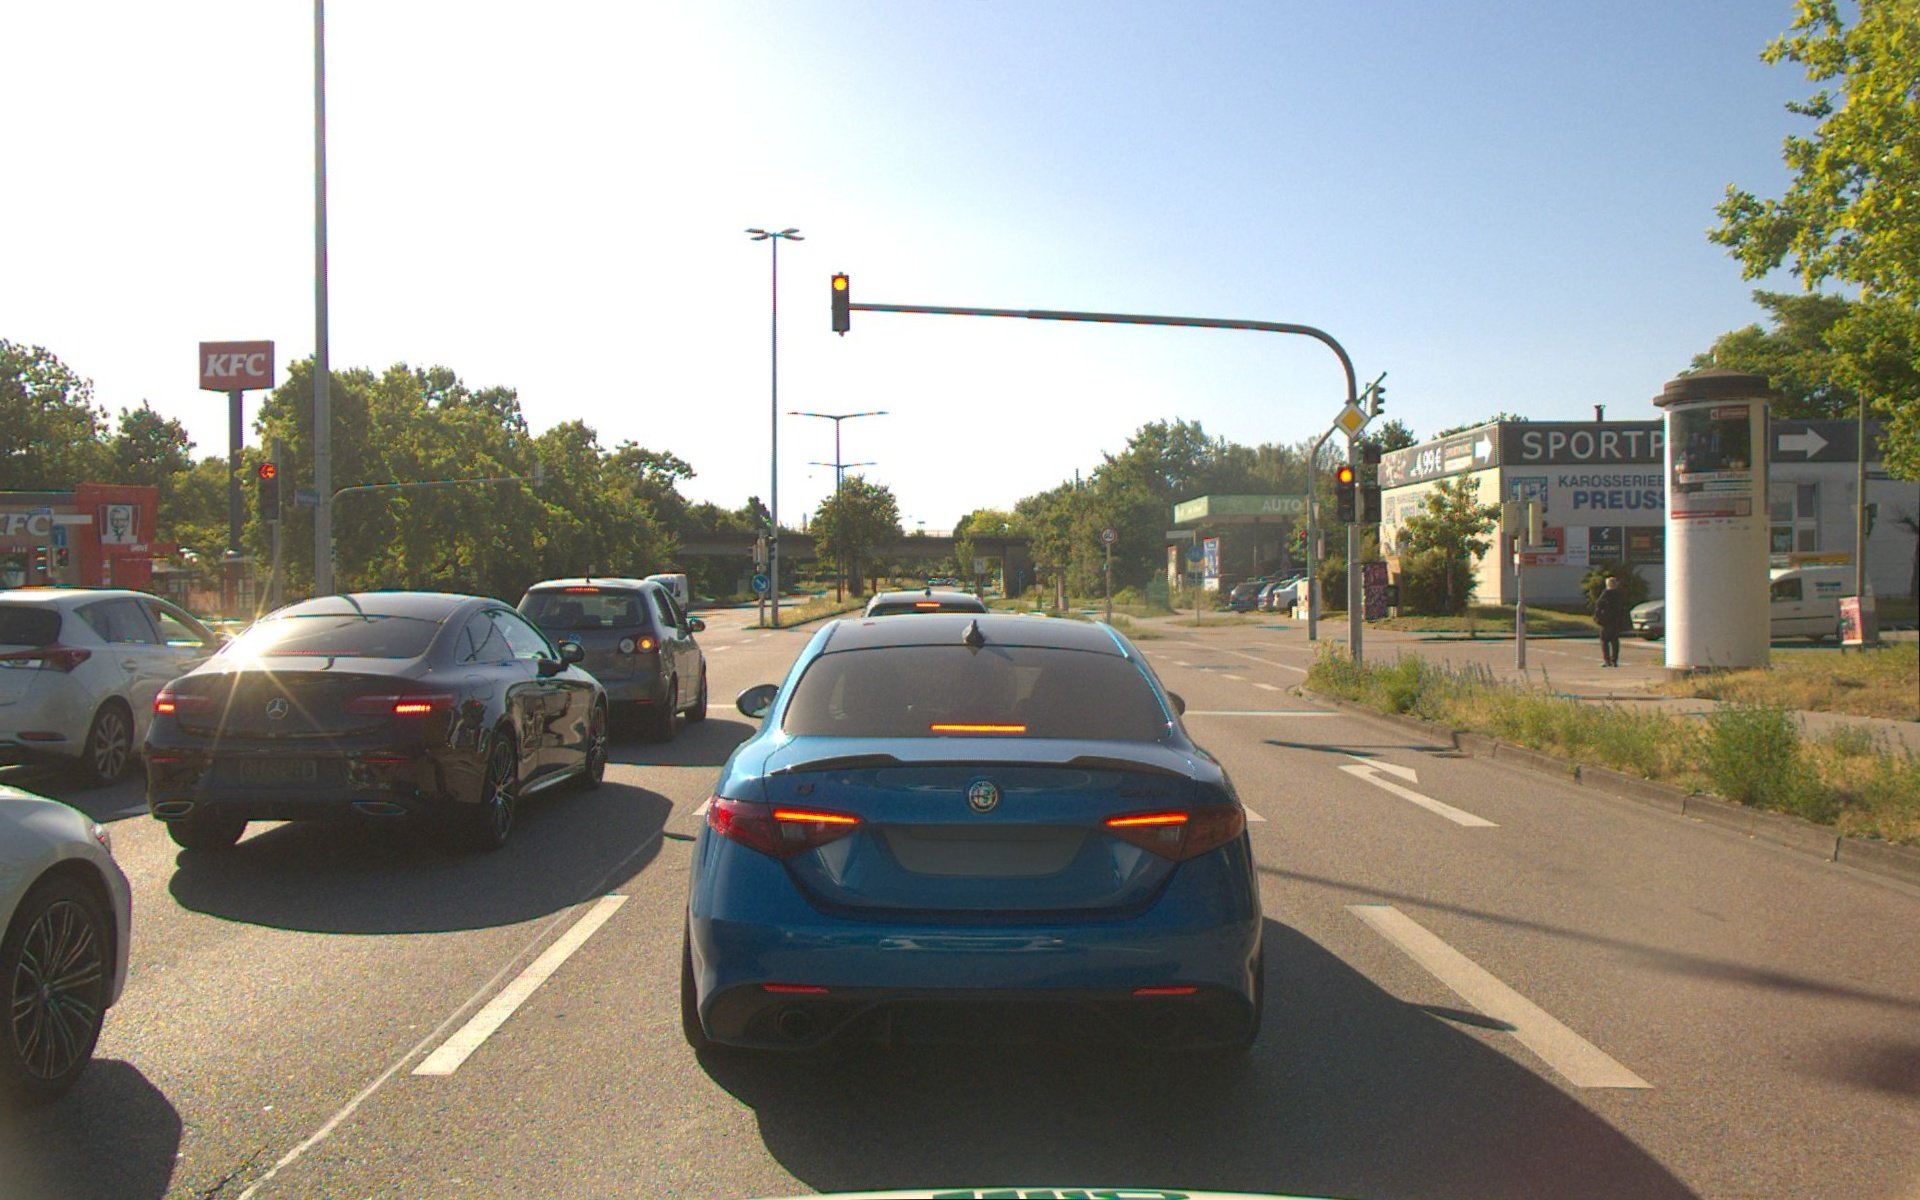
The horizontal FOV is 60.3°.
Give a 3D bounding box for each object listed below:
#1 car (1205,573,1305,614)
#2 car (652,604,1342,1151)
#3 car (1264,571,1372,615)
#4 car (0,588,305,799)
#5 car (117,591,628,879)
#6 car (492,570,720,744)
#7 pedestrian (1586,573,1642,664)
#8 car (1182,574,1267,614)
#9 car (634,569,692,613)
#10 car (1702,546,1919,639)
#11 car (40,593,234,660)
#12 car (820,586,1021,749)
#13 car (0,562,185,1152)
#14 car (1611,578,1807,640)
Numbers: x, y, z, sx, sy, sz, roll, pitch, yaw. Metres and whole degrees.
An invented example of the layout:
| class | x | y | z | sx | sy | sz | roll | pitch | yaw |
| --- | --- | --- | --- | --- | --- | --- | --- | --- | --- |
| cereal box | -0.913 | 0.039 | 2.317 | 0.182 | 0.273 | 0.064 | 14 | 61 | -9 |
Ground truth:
| class | x | y | z | sx | sy | sz | roll | pitch | yaw |
| --- | --- | --- | --- | --- | --- | --- | --- | --- | --- |
| car | 12.683 | -0.274 | 71.164 | 3.928 | 1.736 | 1.686 | 0 | 0 | -20 |
| car | 0.074 | 0.744 | 6.365 | 1.828 | 1.409 | 3.931 | 0 | 0 | -1 |
| car | 14.354 | -0.284 | 66.334 | 3.923 | 1.736 | 1.687 | 0 | 0 | -17 |
| car | -7.163 | 0.633 | 13.631 | 1.819 | 1.454 | 4.403 | 0 | 0 | -1 |
| car | -3.412 | 0.666 | 10.583 | 1.732 | 1.439 | 4.460 | 0 | 0 | -1 |
| car | -3.603 | 0.520 | 17.466 | 1.615 | 1.626 | 3.931 | 0 | 0 | -1 |
| pedestrian | 12.710 | 0.351 | 32.156 | 0.805 | 1.752 | 0.854 | 0 | 0 | 6 |
| car | 11.888 | -0.269 | 74.343 | 3.428 | 1.736 | 1.688 | 0 | 0 | -16 |
| car | -17.078 | -0.533 | 95.335 | 2.382 | 2.469 | 5.830 | 0 | 0 | -1 |
| car | 20.608 | -0.193 | 40.169 | 4.318 | 2.183 | 1.998 | 0 | 0 | -4 |
| car | -20.667 | 0.651 | 41.677 | 3.959 | 1.622 | 1.822 | 0 | 0 | -6 |
| car | -0.389 | 0.605 | 17.068 | 1.828 | 1.475 | 3.931 | 0 | 0 | -1 |
| car | -3.348 | 0.680 | 3.110 | 1.732 | 1.535 | 4.460 | 0 | 0 | -1 |
| car | 19.766 | 0.221 | 43.738 | 4.318 | 1.580 | 1.998 | 0 | 0 | -4 |
